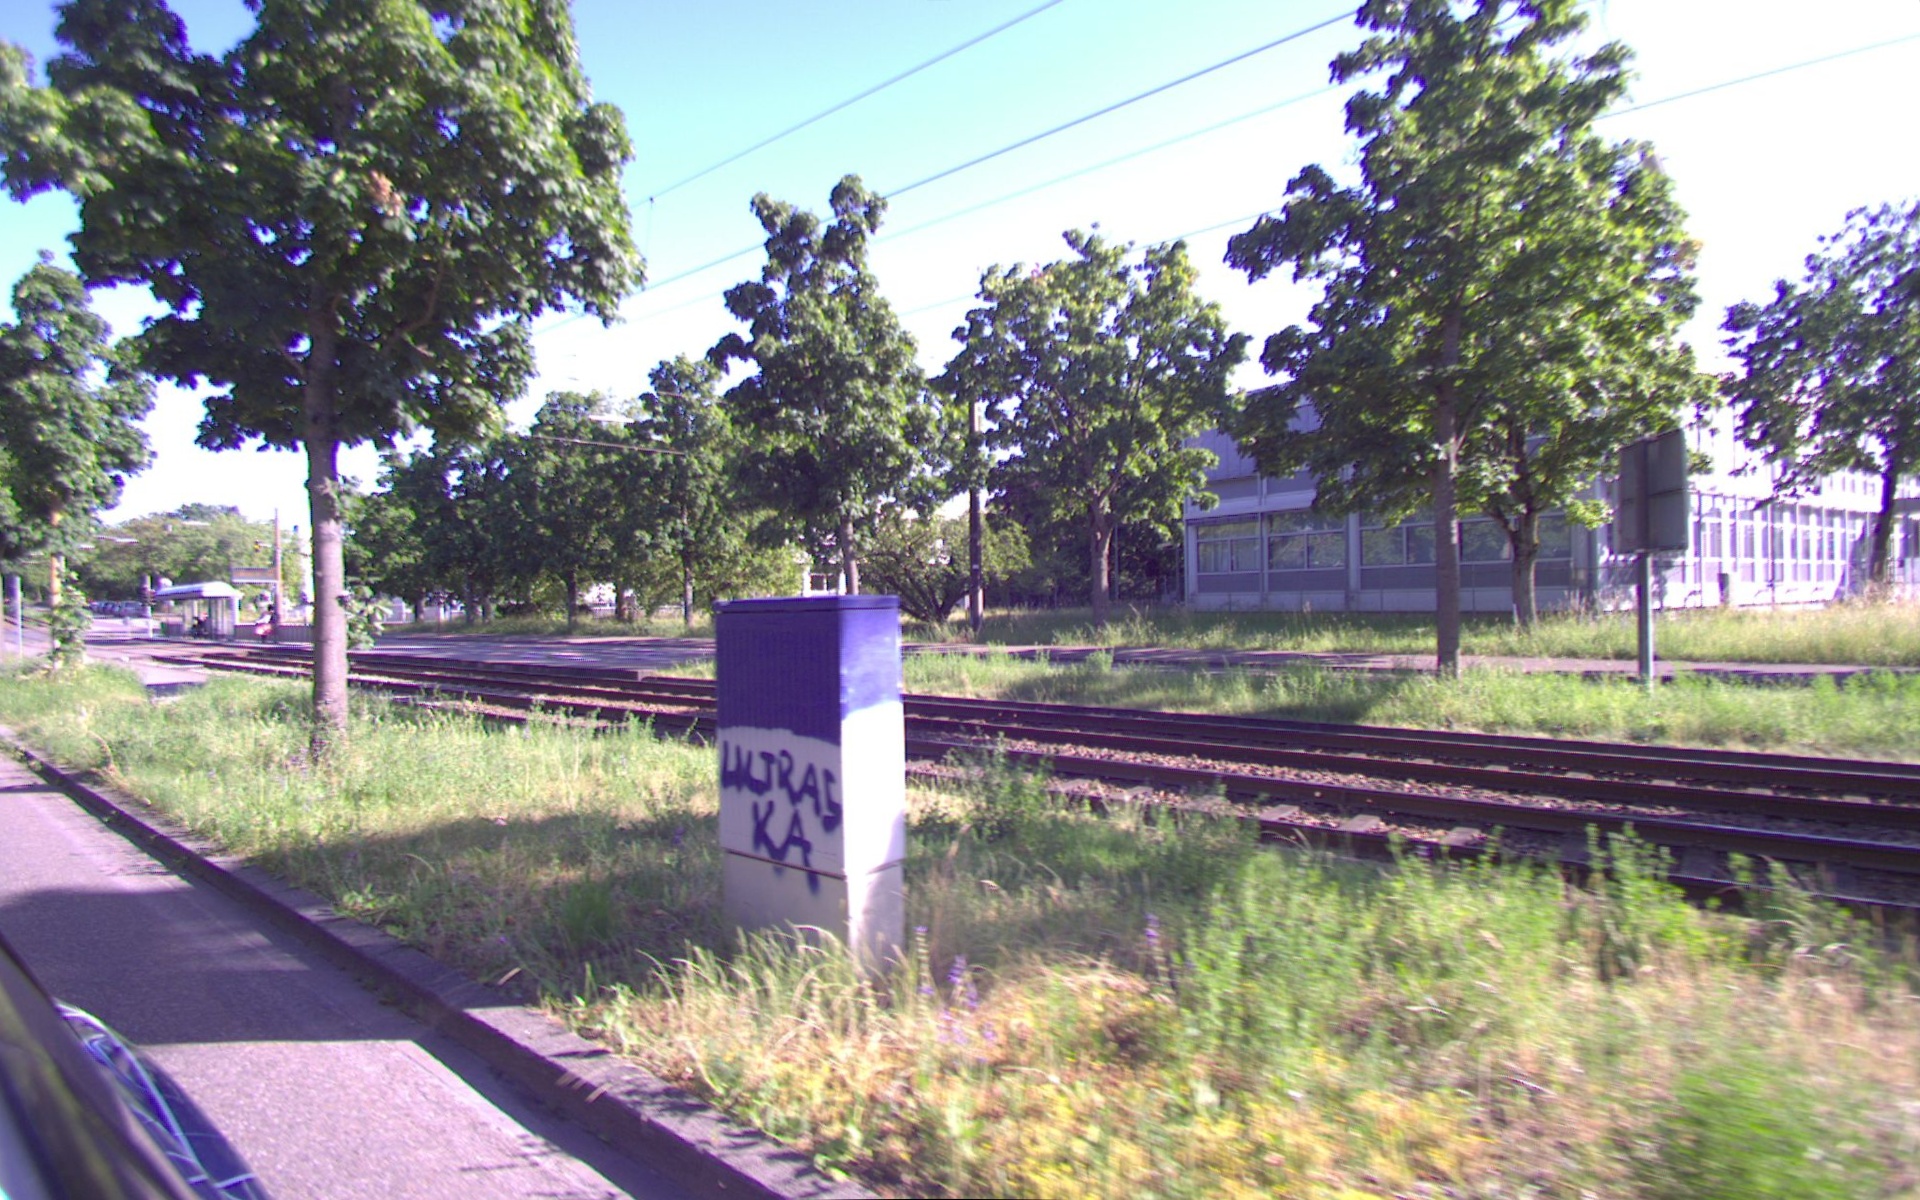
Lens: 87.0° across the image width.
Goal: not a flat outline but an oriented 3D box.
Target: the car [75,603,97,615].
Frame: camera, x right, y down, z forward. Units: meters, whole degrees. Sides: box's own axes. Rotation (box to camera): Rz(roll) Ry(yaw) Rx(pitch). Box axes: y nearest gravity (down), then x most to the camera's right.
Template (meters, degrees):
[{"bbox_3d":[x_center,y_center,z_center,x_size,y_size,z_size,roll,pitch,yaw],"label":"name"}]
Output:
[{"bbox_3d":[-113.727,1.190,131.666,3.454,1.597,1.680,-1,-1,41],"label":"car"}]

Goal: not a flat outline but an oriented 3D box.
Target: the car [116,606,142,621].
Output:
[{"bbox_3d":[-95.005,1.554,115.648,3.454,1.597,1.749,-1,-1,40],"label":"car"}]

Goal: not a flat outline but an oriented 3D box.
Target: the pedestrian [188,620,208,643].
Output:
[{"bbox_3d":[-41.884,1.737,55.617,0.679,1.258,0.643,-1,-2,33],"label":"pedestrian"}]

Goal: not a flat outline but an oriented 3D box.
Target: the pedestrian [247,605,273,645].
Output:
[{"bbox_3d":[-31.495,1.120,45.547,0.781,1.765,0.776,-1,0,41],"label":"pedestrian"}]

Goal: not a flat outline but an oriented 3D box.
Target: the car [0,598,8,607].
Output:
[{"bbox_3d":[-163.528,0.449,172.271,3.454,1.597,1.680,-1,-1,41],"label":"car"}]

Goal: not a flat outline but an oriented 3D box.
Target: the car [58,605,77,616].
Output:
[{"bbox_3d":[-138.026,1.662,156.501,3.454,1.597,1.680,-1,-1,41],"label":"car"}]
